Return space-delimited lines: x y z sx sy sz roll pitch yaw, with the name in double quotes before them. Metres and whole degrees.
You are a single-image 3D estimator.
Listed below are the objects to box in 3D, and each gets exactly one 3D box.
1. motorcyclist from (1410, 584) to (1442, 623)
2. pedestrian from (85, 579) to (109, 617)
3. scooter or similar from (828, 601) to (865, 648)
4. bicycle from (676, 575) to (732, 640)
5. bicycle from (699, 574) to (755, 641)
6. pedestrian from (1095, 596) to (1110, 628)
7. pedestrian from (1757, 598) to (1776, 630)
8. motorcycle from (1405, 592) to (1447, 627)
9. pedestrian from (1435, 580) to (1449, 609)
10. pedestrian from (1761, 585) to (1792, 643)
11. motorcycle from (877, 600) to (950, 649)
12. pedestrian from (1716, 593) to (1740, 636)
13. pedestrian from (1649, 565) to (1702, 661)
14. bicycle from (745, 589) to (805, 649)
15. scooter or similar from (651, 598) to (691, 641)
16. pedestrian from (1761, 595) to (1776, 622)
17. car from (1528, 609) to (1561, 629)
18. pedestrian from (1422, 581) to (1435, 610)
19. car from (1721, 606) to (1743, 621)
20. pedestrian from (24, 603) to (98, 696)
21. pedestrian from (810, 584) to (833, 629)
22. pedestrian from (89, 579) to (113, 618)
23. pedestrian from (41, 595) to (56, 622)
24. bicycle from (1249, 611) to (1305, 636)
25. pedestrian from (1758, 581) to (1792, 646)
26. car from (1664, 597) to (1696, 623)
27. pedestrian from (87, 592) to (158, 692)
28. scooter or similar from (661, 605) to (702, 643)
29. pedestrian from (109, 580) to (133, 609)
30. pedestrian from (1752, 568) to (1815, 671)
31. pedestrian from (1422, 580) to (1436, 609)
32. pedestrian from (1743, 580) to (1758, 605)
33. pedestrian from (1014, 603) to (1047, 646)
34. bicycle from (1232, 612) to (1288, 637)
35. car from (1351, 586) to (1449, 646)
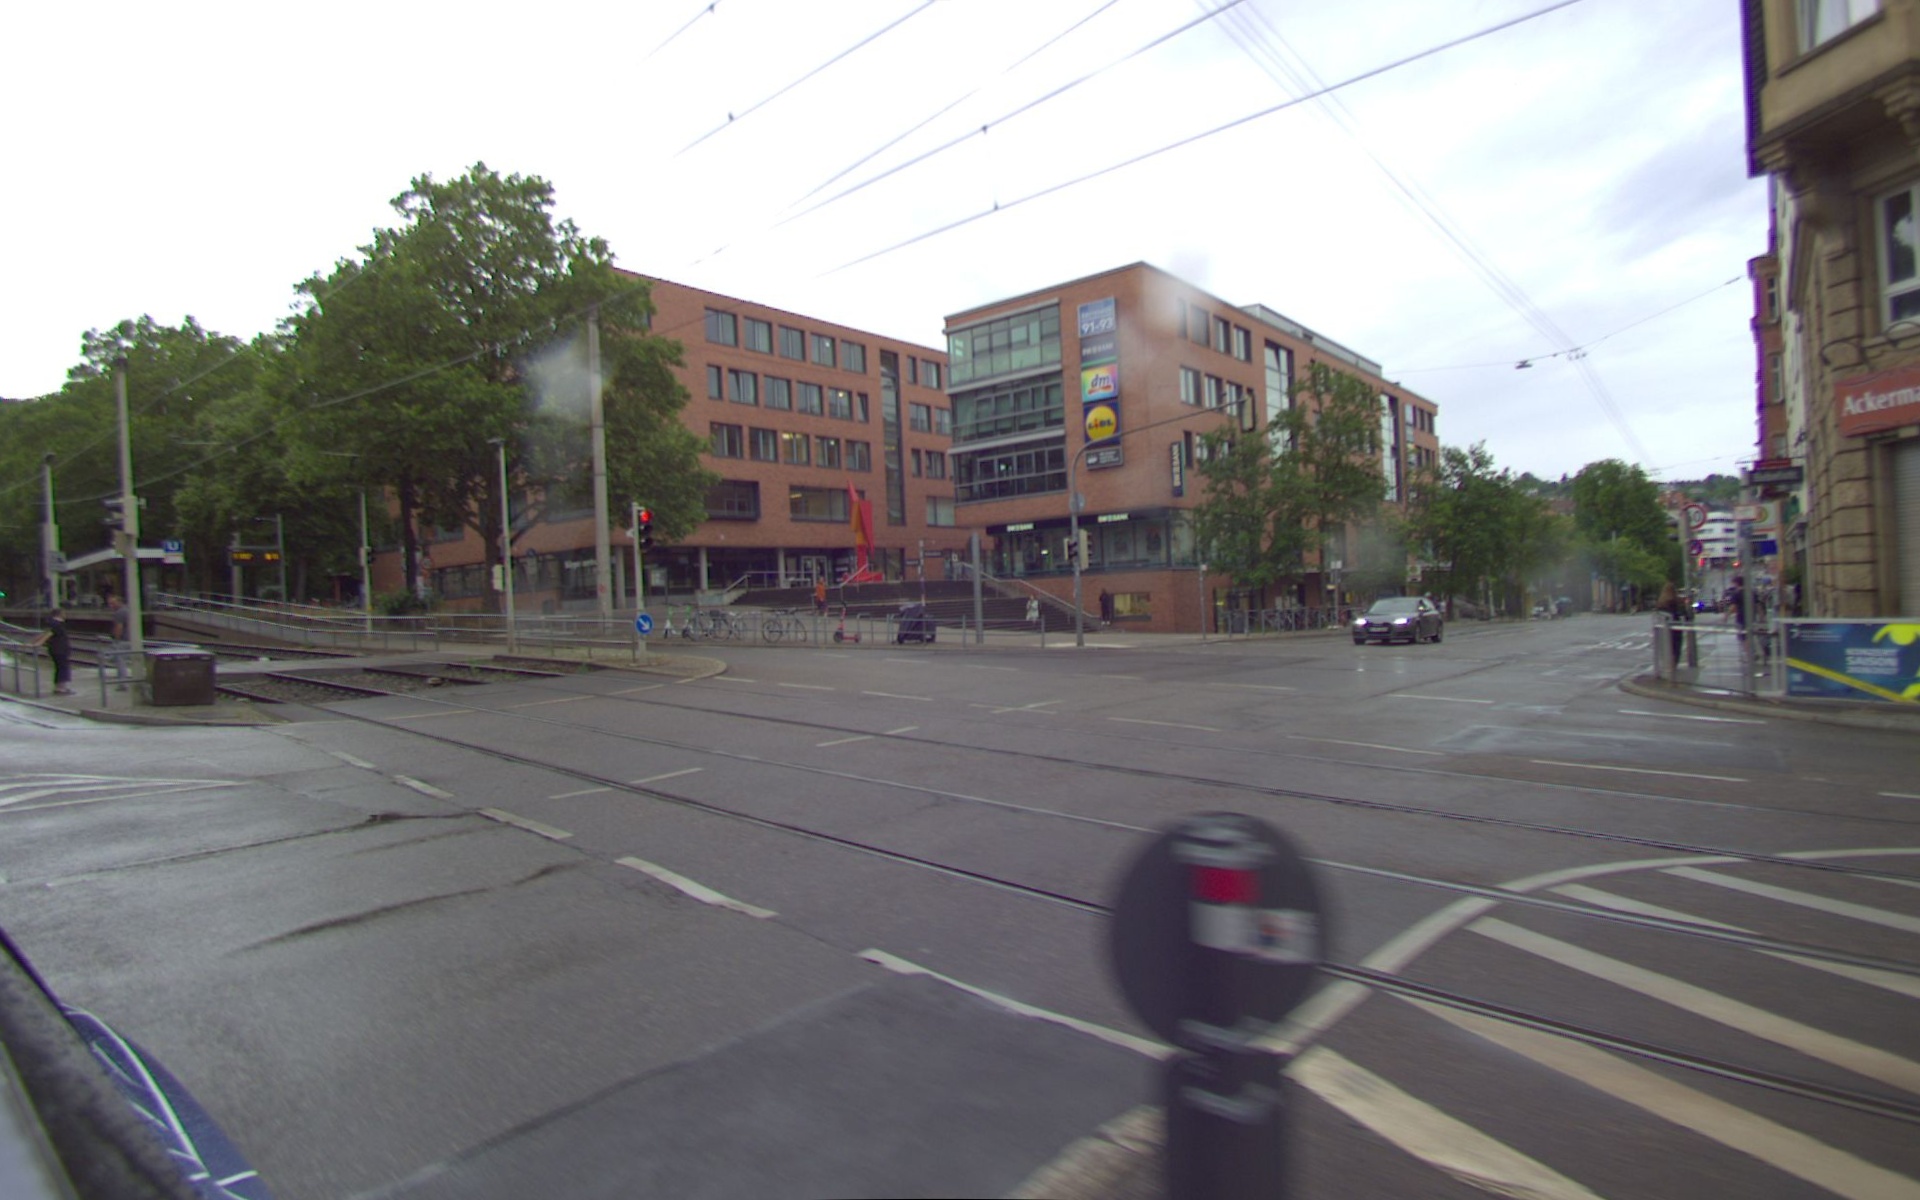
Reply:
"motorcyclist" 16.029 0.126 34.801 0.841 1.313 0.804 0 0 40
"pedestrian" -48.137 -0.106 56.468 0.882 2.078 0.827 0 0 35
"scooter or similar" -3.430 0.720 30.566 0.450 1.381 1.496 -1 1 22
"bicycle" -8.223 0.213 32.616 0.517 2.029 1.876 0 1 32
"bicycle" -7.373 0.212 32.095 0.517 2.029 1.876 0 1 32
"pedestrian" 7.075 0.580 50.204 0.591 1.578 0.513 0 1 37
"pedestrian" 47.325 0.803 59.390 0.812 1.851 0.760 -1 -1 38
"motorcycle" 15.981 0.306 34.717 0.866 1.168 1.827 0 0 40
"pedestrian" 27.288 -0.327 57.318 0.598 1.641 0.566 0 1 38
"pedestrian" 23.979 0.393 29.713 0.667 1.682 0.821 0 1 42
"motorcycle" -1.350 0.698 30.307 0.863 1.381 2.630 0 0 32
"pedestrian" 34.006 0.640 44.819 0.812 1.851 0.760 -1 -1 38
"pedestrian" 13.642 0.253 19.311 0.637 1.780 0.621 -4 -3 29
"bicycle" -5.643 0.545 30.999 0.555 1.710 2.075 1 3 32
"scooter or similar" -9.718 0.646 34.062 0.450 1.381 1.496 -1 1 22
"pedestrian" 57.200 0.607 71.627 0.812 1.851 0.760 -1 -1 38
"car" 49.398 1.598 85.505 1.816 1.601 3.949 -1 0 38
"pedestrian" 27.253 -0.270 58.813 0.573 1.641 0.480 0 1 39
"car" 74.695 1.324 97.948 1.634 1.302 3.970 0 1 37
"pedestrian" -16.266 0.873 18.308 1.000 1.616 0.827 0 0 37
"pedestrian" -5.712 0.256 41.715 0.779 1.757 1.073 0 4 -18
"pedestrian" -46.856 -0.089 55.204 0.882 2.078 0.827 0 0 35
"pedestrian" -60.241 0.557 66.875 0.702 1.804 0.668 -1 -1 39
"bicycle" 14.724 1.081 47.032 2.367 1.109 0.840 0 1 42
"pedestrian" 21.268 0.340 26.414 0.593 1.680 0.597 0 0 -41
"car" 49.284 0.667 69.234 1.634 1.594 3.950 0 1 37
"pedestrian" -15.634 0.760 18.890 1.000 1.812 0.818 0 0 37
"scooter or similar" -9.230 0.780 33.588 0.475 1.203 1.708 0 0 18
"pedestrian" -44.320 -0.282 53.435 0.882 1.494 0.772 0 0 35
"pedestrian" 15.084 0.358 18.545 0.632 1.854 0.626 0 -1 6
"pedestrian" 26.585 -0.325 57.389 0.574 1.641 0.566 0 1 38
"pedestrian" 57.667 -0.547 73.824 0.812 1.851 0.760 -1 -1 38
"pedestrian" 2.888 0.987 41.322 1.008 1.743 0.887 0 0 39
"bicycle" 13.749 1.106 46.350 2.359 1.109 0.692 0 1 32
"car" 13.422 0.477 30.751 1.839 1.678 3.949 0 -1 38
